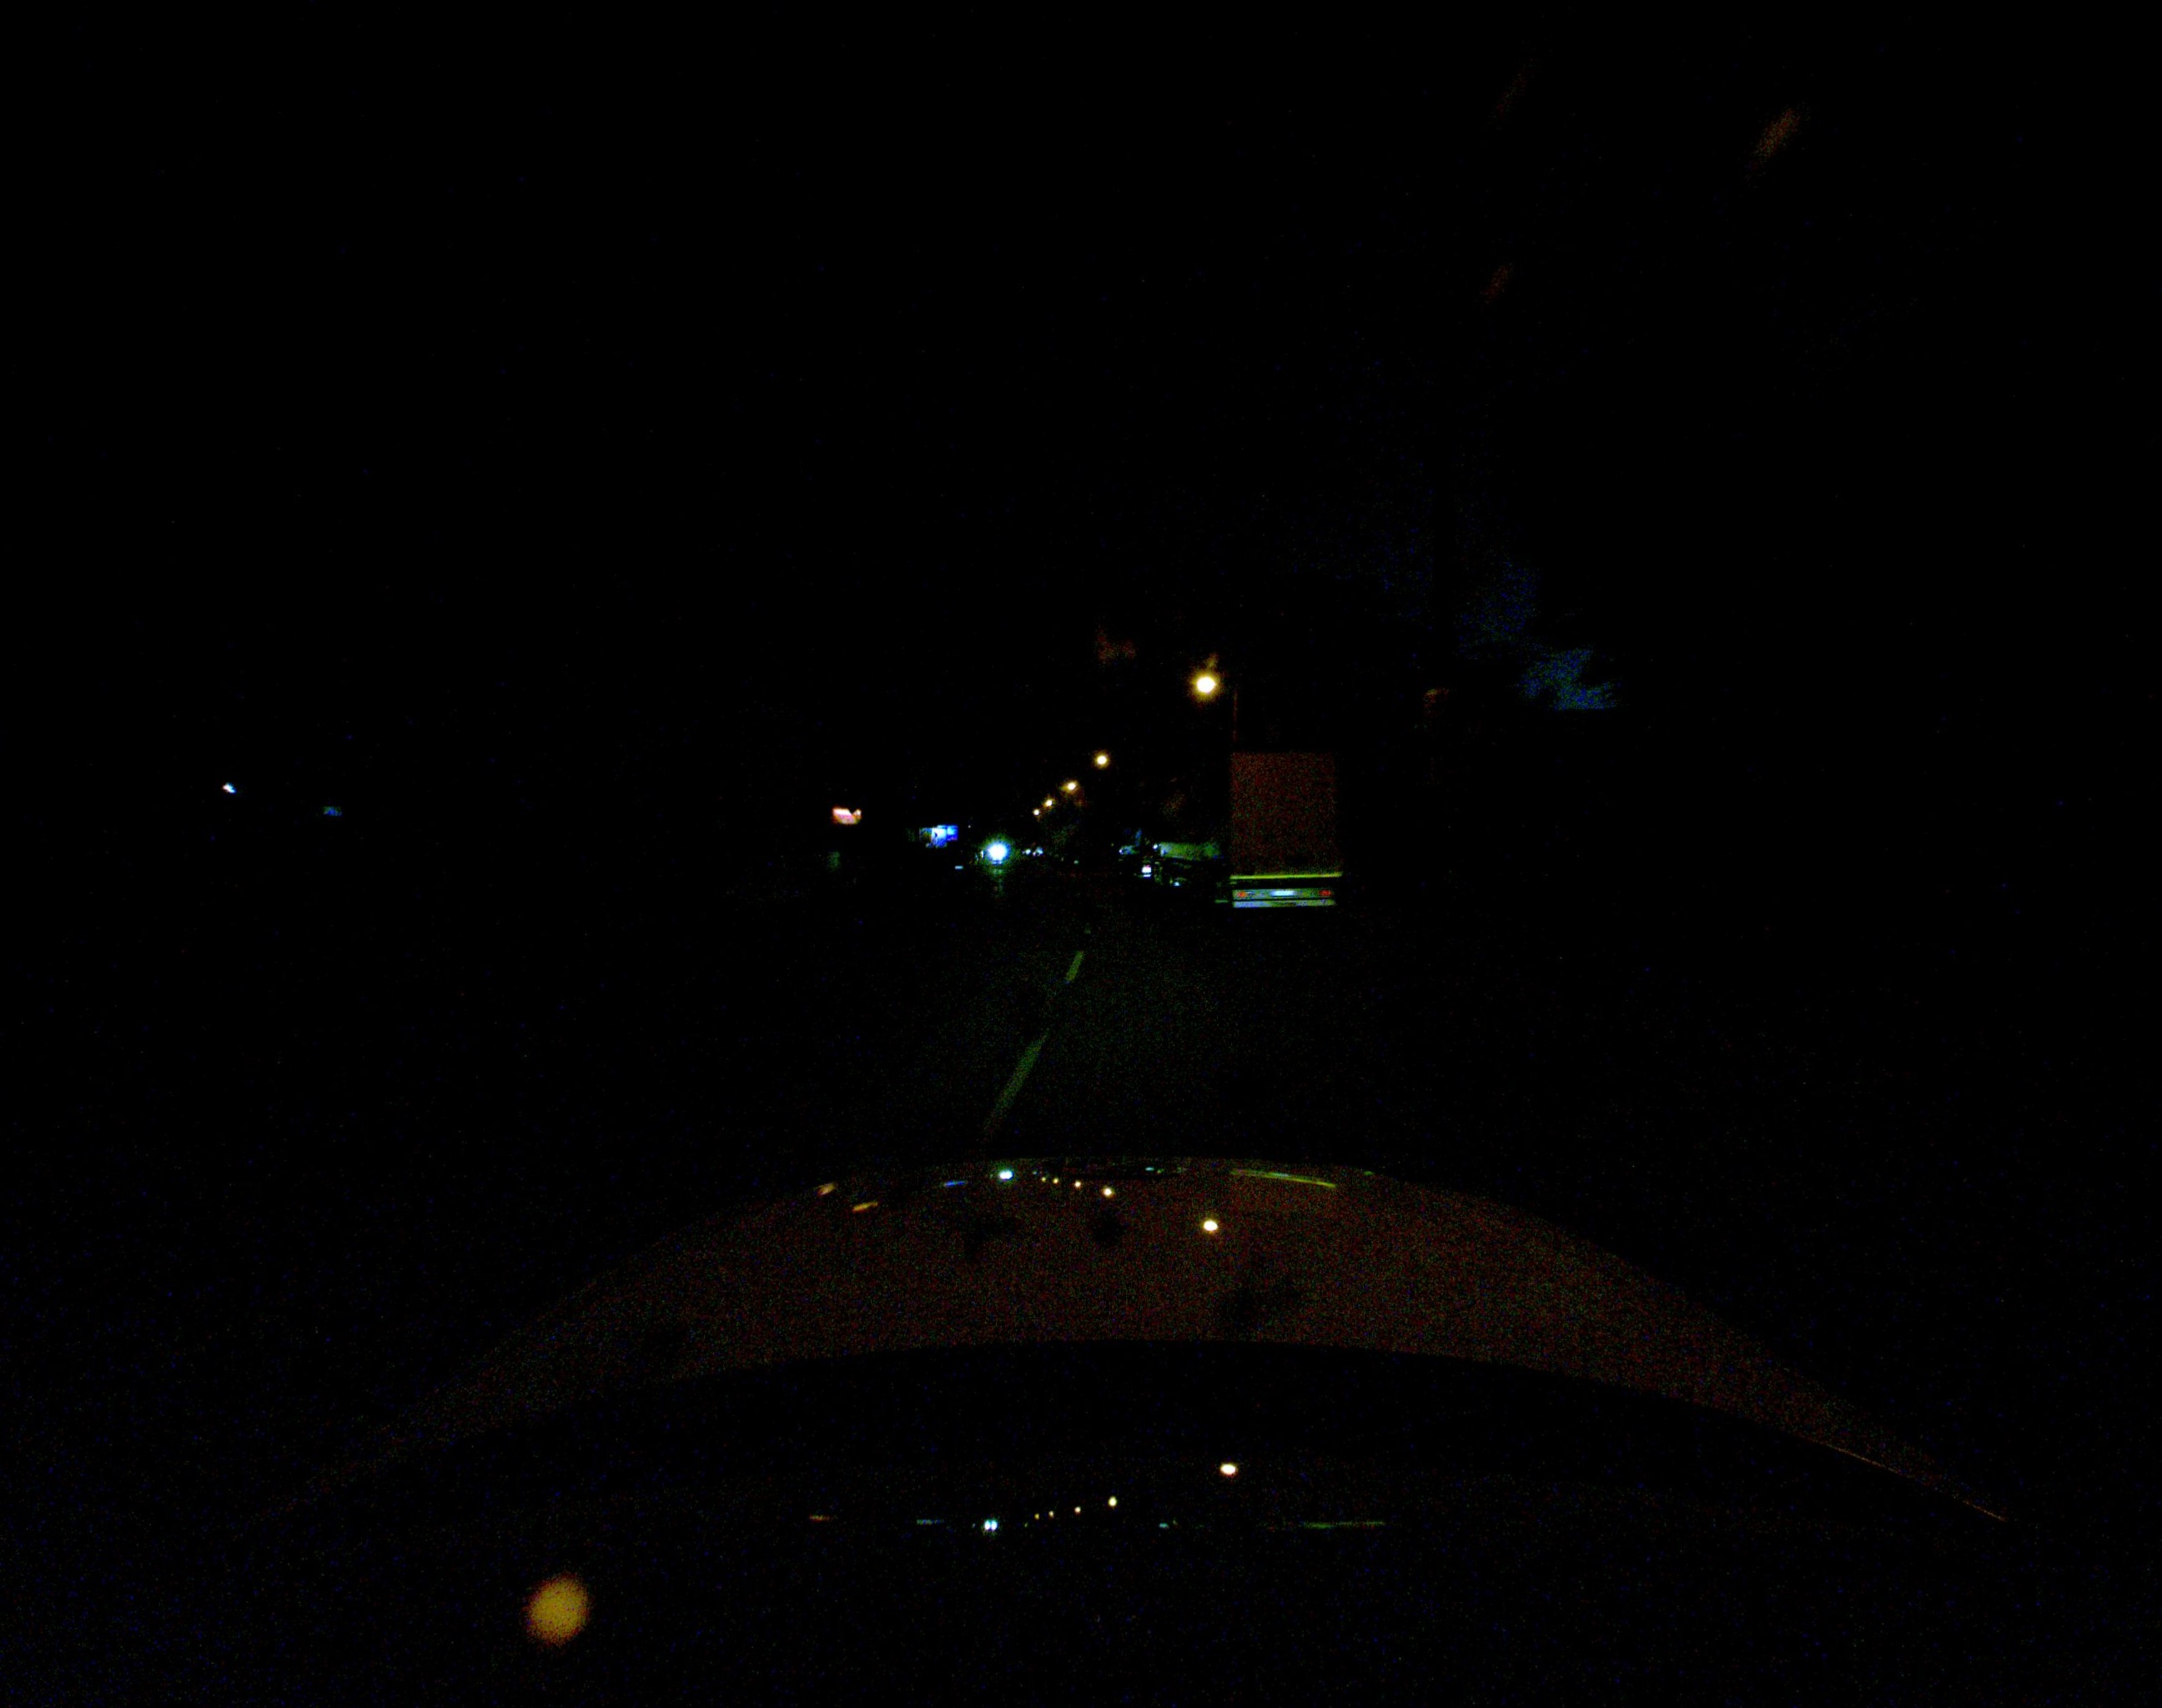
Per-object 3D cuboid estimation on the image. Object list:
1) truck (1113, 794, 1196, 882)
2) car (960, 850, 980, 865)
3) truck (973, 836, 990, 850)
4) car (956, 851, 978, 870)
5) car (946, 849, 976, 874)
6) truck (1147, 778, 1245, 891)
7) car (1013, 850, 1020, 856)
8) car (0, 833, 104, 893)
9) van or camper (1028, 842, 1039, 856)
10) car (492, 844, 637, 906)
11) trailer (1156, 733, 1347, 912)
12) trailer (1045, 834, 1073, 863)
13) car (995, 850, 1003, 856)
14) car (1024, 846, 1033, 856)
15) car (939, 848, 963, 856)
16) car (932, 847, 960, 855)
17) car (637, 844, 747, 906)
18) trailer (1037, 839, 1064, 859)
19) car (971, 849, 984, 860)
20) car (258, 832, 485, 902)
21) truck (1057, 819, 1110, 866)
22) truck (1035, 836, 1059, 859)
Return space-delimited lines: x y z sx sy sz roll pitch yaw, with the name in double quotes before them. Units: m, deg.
"truck" 3.577 -0.728 42.729 2.824 3.983 10.330 -1 0 -3
"car" -10.975 0.322 80.913 1.839 1.420 3.992 0 0 -6
"truck" -25.572 -2.740 209.312 3.892 3.621 8.228 0 0 -11
"car" -8.679 0.495 62.215 1.600 1.354 3.991 1 0 -7
"car" -8.333 0.519 56.894 1.992 1.636 4.762 1 0 -7
"truck" 4.369 -0.708 32.165 2.822 3.983 6.046 -1 0 -1
"car" -18.272 -0.296 231.073 1.991 1.684 3.992 0 0 -6
"car" -27.802 0.207 20.407 1.829 1.494 4.509 0 0 -12
"van or camper" -9.416 -1.007 160.942 1.990 2.581 4.906 0 0 -5
"car" -13.670 0.495 21.905 1.829 1.494 4.509 0 0 -12
"trailer" 4.486 -0.711 25.315 2.800 3.983 13.969 -1 0 -1
"trailer" -2.902 -0.664 104.137 2.685 3.464 7.786 1 0 -8
"car" -20.996 -0.327 209.392 1.991 1.398 3.992 0 0 -6
"car" -11.710 -0.596 181.244 1.991 2.145 3.992 0 0 -6
"car" -25.021 -0.378 156.993 4.014 1.594 1.980 -1 0 -33
"car" -24.594 -0.559 148.535 4.641 1.485 1.982 0 0 -29
"car" -10.363 0.483 22.029 1.831 1.494 4.505 0 0 -15
"trailer" -4.618 -0.672 120.342 3.180 2.749 10.692 -1 0 -6
"car" -16.890 0.071 132.818 1.991 1.794 3.992 0 0 -6
"car" -17.834 0.301 20.872 1.825 1.581 4.945 1 0 -6
"truck" 0.080 -0.973 75.874 3.518 3.983 10.313 -1 0 -8
"truck" -5.366 -1.016 127.431 3.147 3.463 6.659 -1 0 -6
